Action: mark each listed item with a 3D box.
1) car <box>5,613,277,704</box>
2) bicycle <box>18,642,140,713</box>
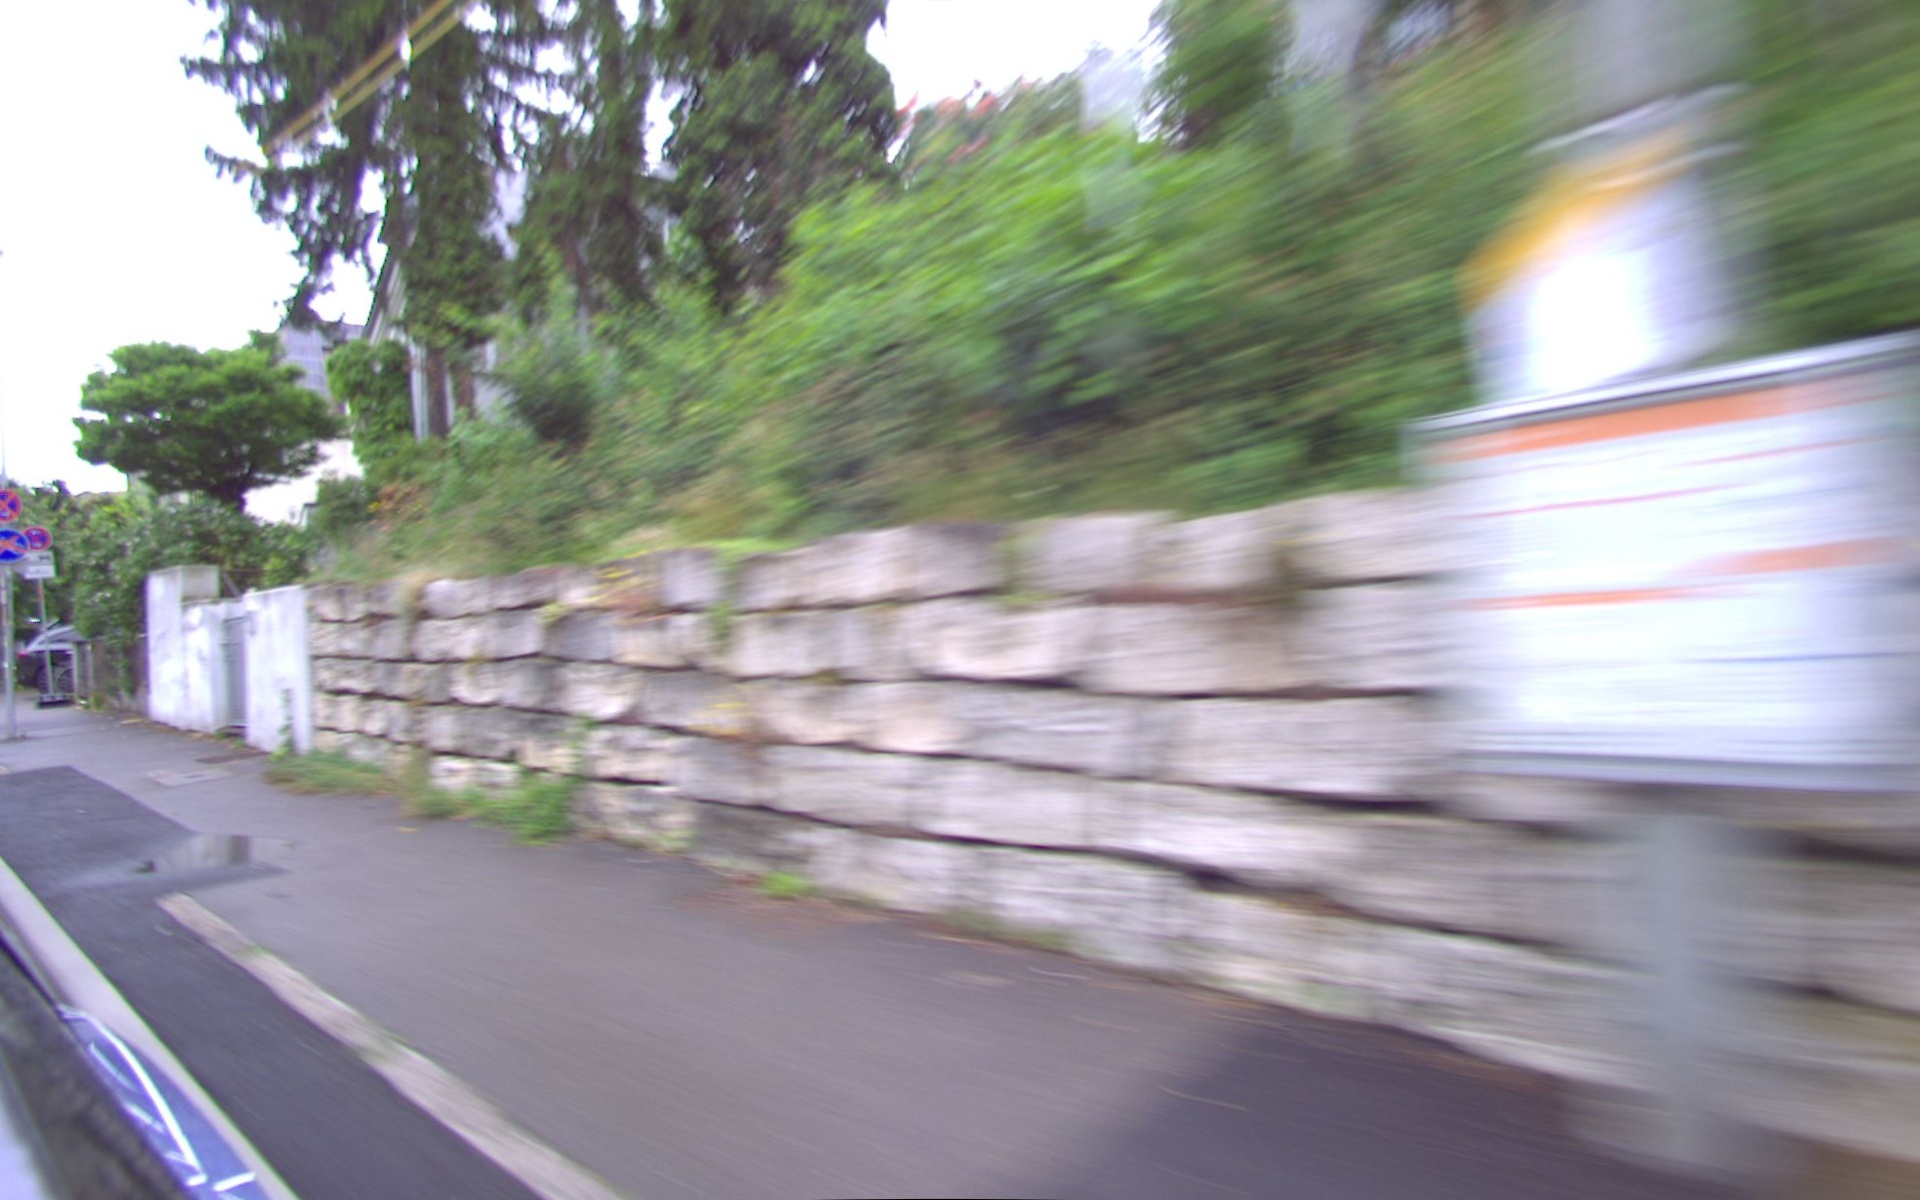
[{"bbox_3d":[-16.301,1.121,20.298,3.942,1.537,1.787,-2,1,-2],"label":"car"},{"bbox_3d":[-15.951,1.392,18.362,1.597,1.139,0.444,-2,1,-36],"label":"bicycle"}]
